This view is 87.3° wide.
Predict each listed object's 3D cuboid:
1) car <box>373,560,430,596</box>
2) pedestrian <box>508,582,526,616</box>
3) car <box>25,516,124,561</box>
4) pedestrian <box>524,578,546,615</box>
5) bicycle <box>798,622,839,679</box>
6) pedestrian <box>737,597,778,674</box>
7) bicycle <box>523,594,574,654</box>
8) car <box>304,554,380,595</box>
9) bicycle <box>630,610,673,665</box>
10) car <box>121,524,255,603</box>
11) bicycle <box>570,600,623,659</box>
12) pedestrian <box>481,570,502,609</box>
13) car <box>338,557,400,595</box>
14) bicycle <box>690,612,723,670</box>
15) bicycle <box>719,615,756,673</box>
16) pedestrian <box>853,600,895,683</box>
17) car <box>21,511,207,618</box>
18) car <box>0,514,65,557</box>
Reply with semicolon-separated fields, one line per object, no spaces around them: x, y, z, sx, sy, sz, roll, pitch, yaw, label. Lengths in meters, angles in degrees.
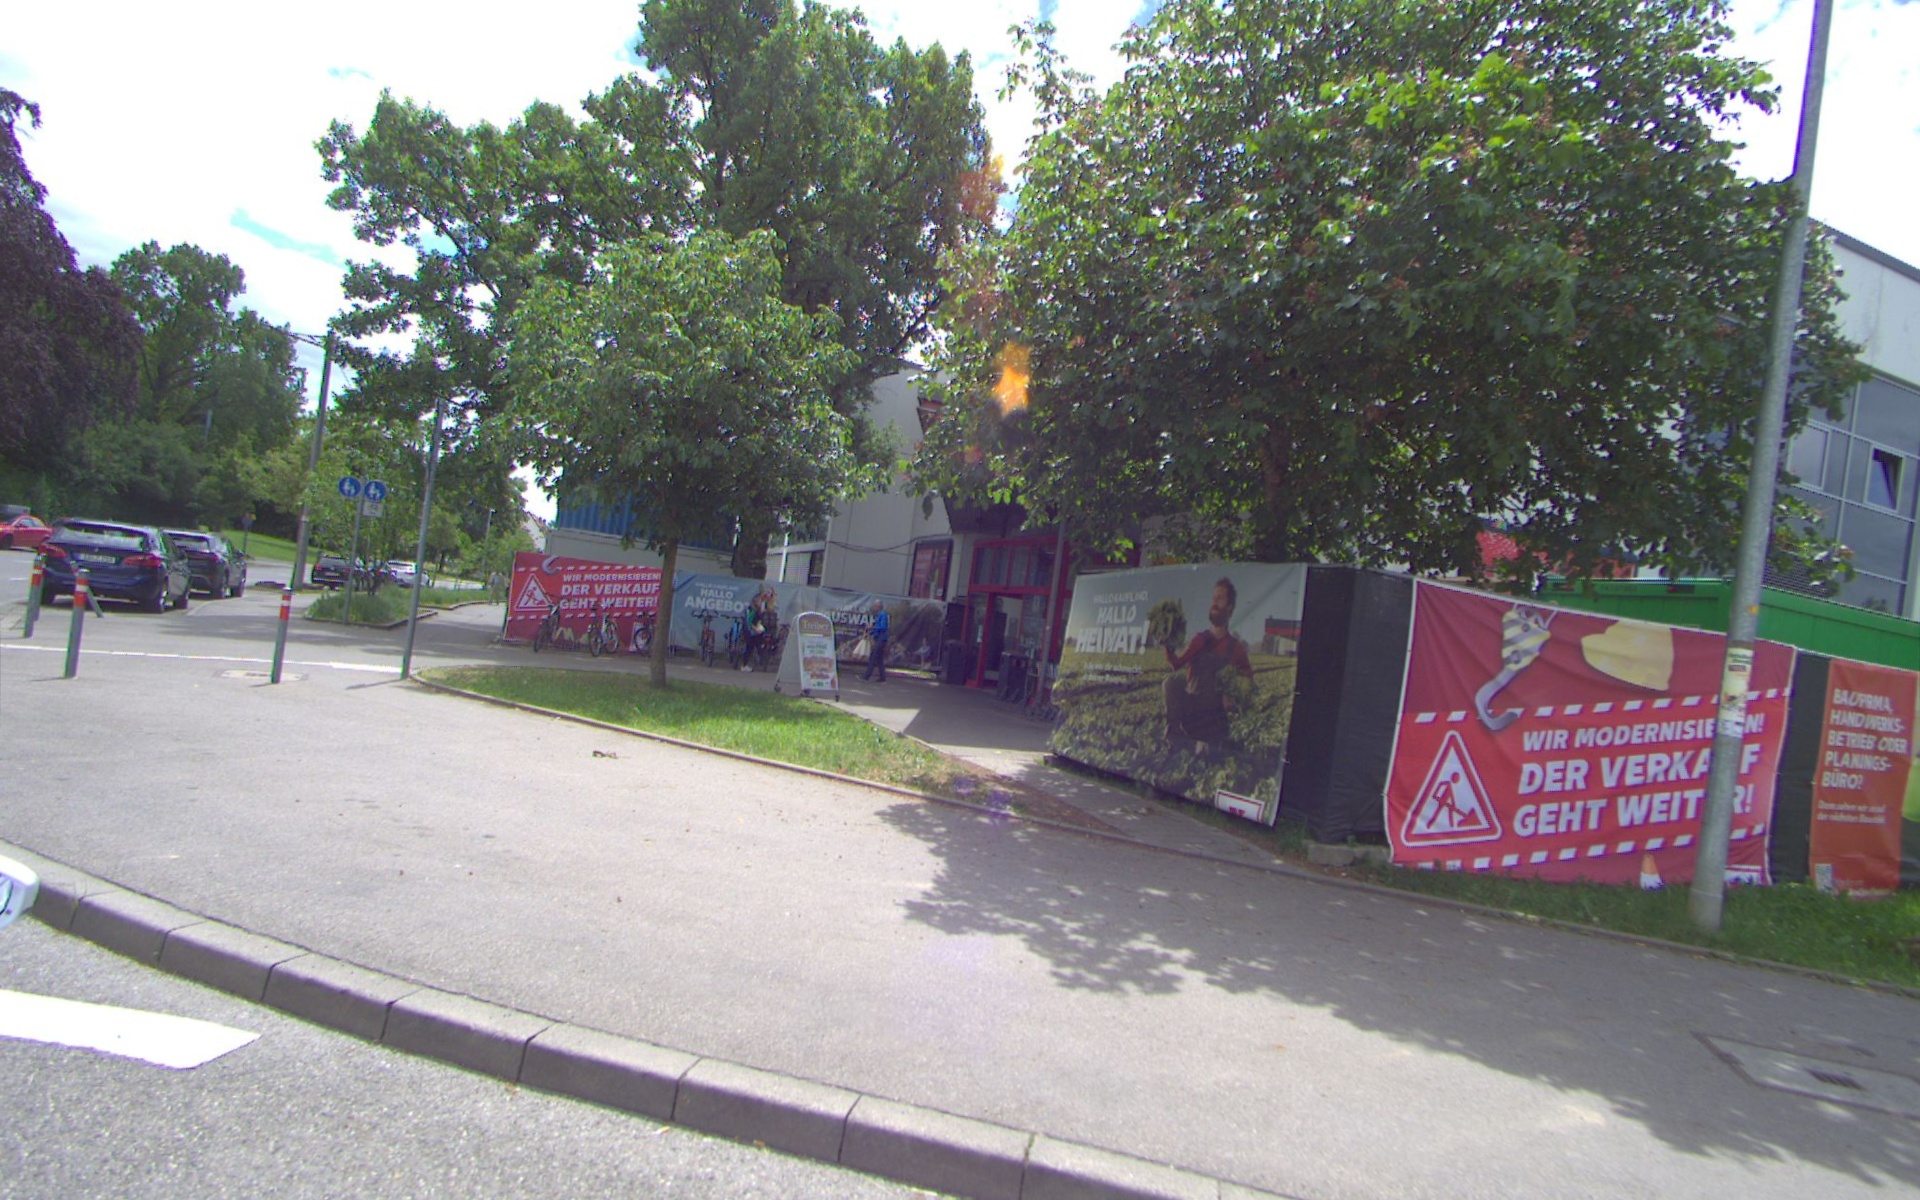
-29.587;-1.142;53.440;1.716;1.635;4.372;5;-2;-18;car
-23.061;-0.048;52.387;0.645;1.717;0.841;8;-1;-21;pedestrian
-38.422;-2.624;43.778;1.632;1.466;4.090;9;-3;-19;car
-19.750;-0.171;46.780;0.735;1.636;0.764;8;-1;-21;pedestrian
-3.294;1.149;23.291;0.522;1.168;1.908;8;-2;-16;bicycle
-4.425;0.772;21.946;0.617;1.585;0.493;8;-1;-19;pedestrian
-8.640;0.509;21.170;0.444;1.168;1.789;8;-2;-9;bicycle
-26.489;-1.045;43.286;1.745;1.495;4.916;5;-1;-20;car
-6.739;0.807;21.948;0.515;1.053;1.790;7;-2;-26;bicycle
-19.906;-0.915;26.151;1.863;1.641;4.814;7;-2;-28;car
-7.807;0.645;21.670;0.492;1.168;1.773;8;-2;-5;bicycle
-21.331;-0.478;45.814;0.645;1.716;0.720;8;-1;-28;pedestrian
-28.138;-1.098;48.015;1.550;1.510;3.987;7;-2;-18;car
-5.629;0.880;22.312;0.420;1.168;1.655;8;-2;-19;bicycle
-4.996;0.958;22.516;0.434;1.168;1.760;8;-2;-20;bicycle
-1.920;0.918;22.410;0.615;1.778;0.745;5;0;-18;pedestrian
-15.908;-0.651;19.176;1.902;1.597;4.396;7;-2;-31;car
-36.809;-2.579;38.742;1.643;1.393;4.551;9;-3;-18;car
